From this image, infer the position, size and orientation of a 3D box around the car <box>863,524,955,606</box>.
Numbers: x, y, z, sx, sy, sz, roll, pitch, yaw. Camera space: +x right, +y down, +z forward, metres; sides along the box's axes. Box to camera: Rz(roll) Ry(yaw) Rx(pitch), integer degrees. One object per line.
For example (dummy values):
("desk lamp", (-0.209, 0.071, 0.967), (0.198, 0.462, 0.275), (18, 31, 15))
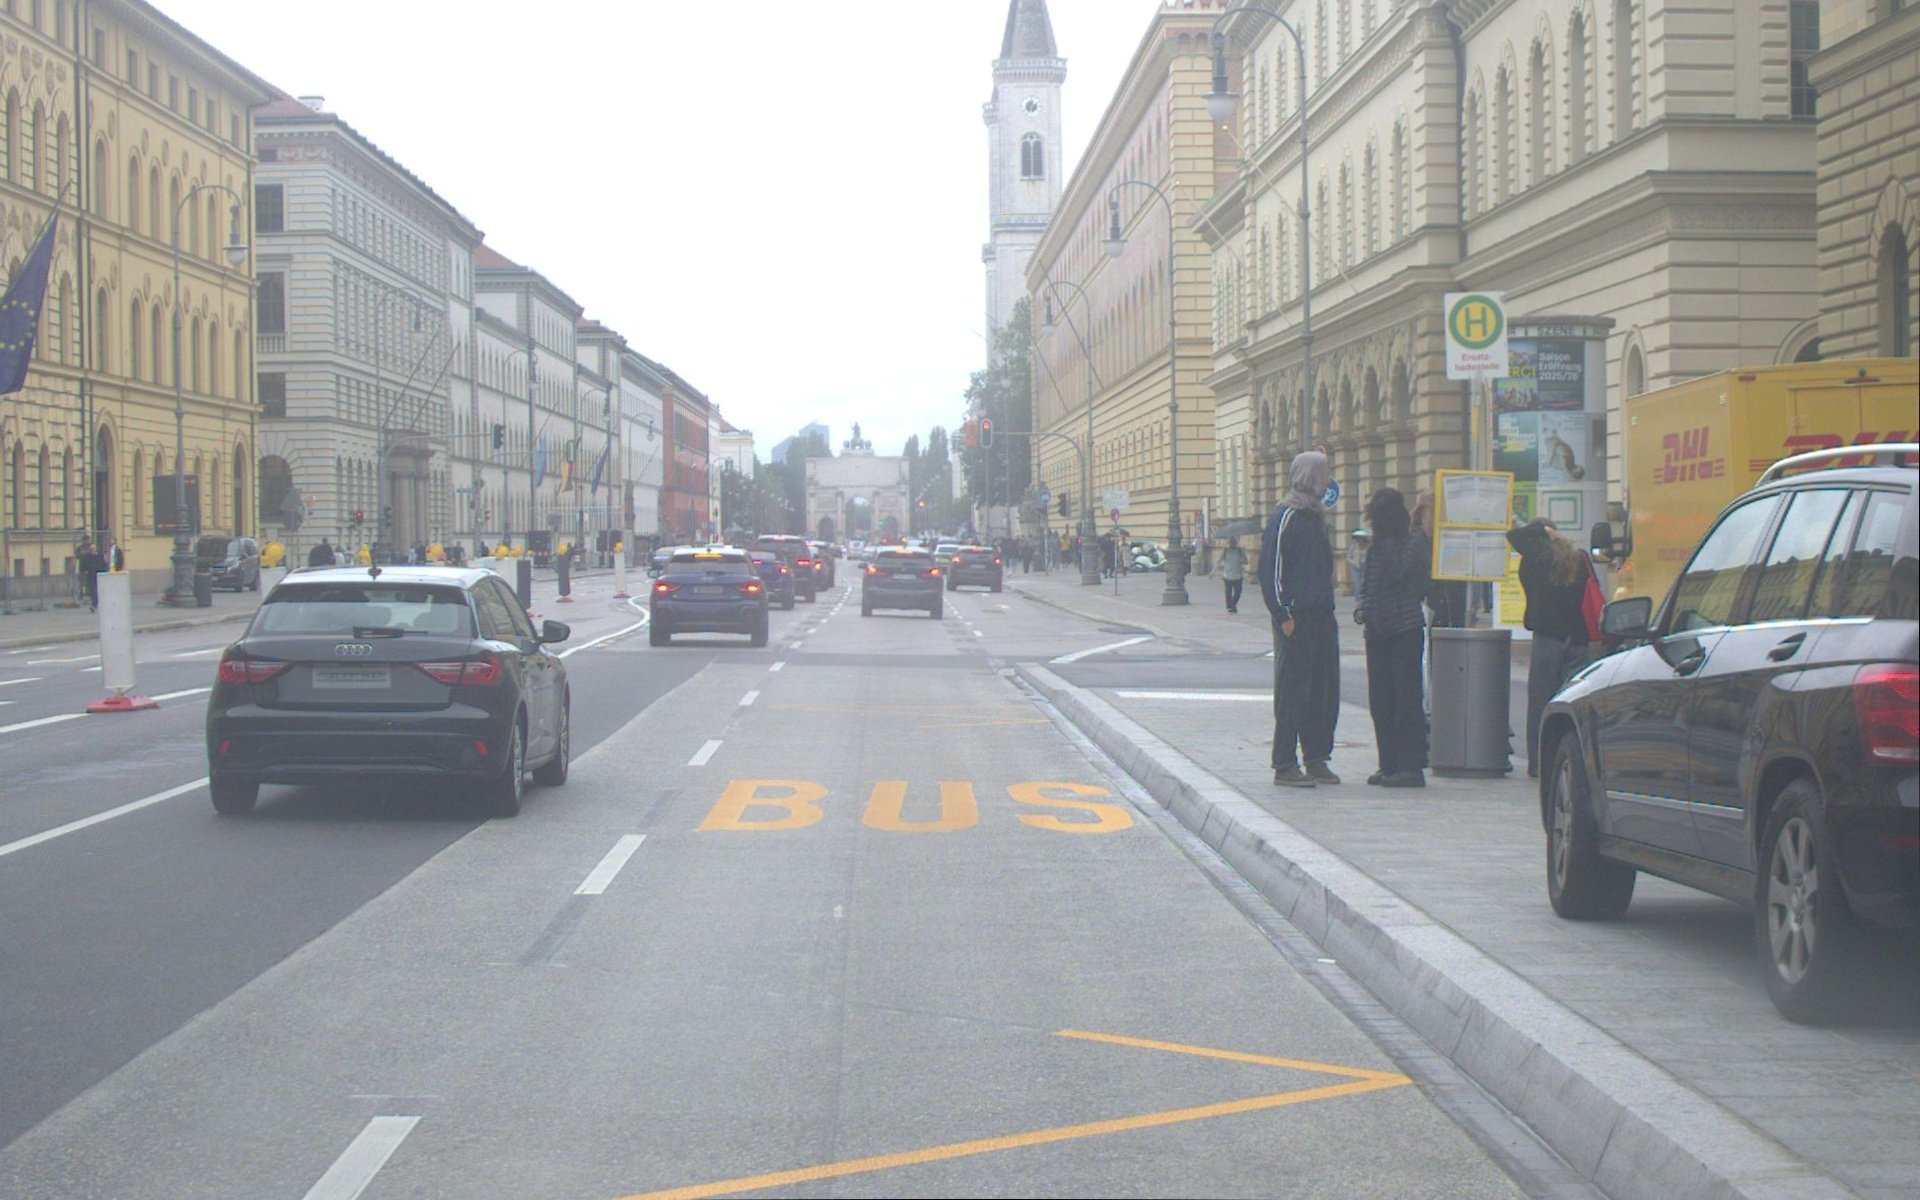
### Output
("car", (-1.133, -0.801, 77.368), (1.993, 1.766, 4.000), (-1, 1, -1))

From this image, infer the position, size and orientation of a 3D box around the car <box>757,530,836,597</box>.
("car", (-4.447, -1.012, 93.811), (1.993, 1.766, 4.000), (-1, 1, -1))

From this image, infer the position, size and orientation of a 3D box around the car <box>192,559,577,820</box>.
("car", (-3.327, 0.463, 20.547), (1.863, 1.383, 4.001), (0, 1, -4))

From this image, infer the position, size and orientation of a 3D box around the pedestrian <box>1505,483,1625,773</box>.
("pedestrian", (3.585, 0.165, 20.405), (0.615, 1.696, 0.541), (0, 0, 2))

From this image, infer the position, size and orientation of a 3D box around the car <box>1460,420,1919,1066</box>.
("car", (3.071, 0.346, 10.970), (2.068, 1.656, 4.223), (0, 1, -4))

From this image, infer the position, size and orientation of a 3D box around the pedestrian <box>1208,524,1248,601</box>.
("pedestrian", (5.897, -0.813, 75.694), (0.797, 1.684, 0.800), (0, 0, -1))

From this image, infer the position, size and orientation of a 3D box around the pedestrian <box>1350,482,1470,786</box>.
("pedestrian", (2.545, 0.192, 19.489), (0.615, 1.696, 0.541), (0, 0, 2))

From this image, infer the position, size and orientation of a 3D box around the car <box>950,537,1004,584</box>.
("car", (0.587, -1.376, 121.379), (1.859, 1.573, 4.000), (0, 0, -1))

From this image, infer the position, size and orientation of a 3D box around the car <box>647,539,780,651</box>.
("car", (-3.697, -0.070, 52.098), (1.769, 1.611, 4.000), (0, 0, -1))

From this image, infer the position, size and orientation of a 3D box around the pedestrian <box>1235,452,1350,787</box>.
("pedestrian", (1.883, 0.110, 19.500), (0.615, 1.868, 0.541), (0, 0, 3))

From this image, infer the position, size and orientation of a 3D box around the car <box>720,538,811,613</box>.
("car", (-4.688, -0.613, 83.402), (1.993, 1.766, 4.000), (-1, 1, -1))

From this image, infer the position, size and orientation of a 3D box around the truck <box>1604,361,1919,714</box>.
("truck", (7.327, -0.484, 29.795), (2.622, 2.755, 5.806), (0, 0, 3))
